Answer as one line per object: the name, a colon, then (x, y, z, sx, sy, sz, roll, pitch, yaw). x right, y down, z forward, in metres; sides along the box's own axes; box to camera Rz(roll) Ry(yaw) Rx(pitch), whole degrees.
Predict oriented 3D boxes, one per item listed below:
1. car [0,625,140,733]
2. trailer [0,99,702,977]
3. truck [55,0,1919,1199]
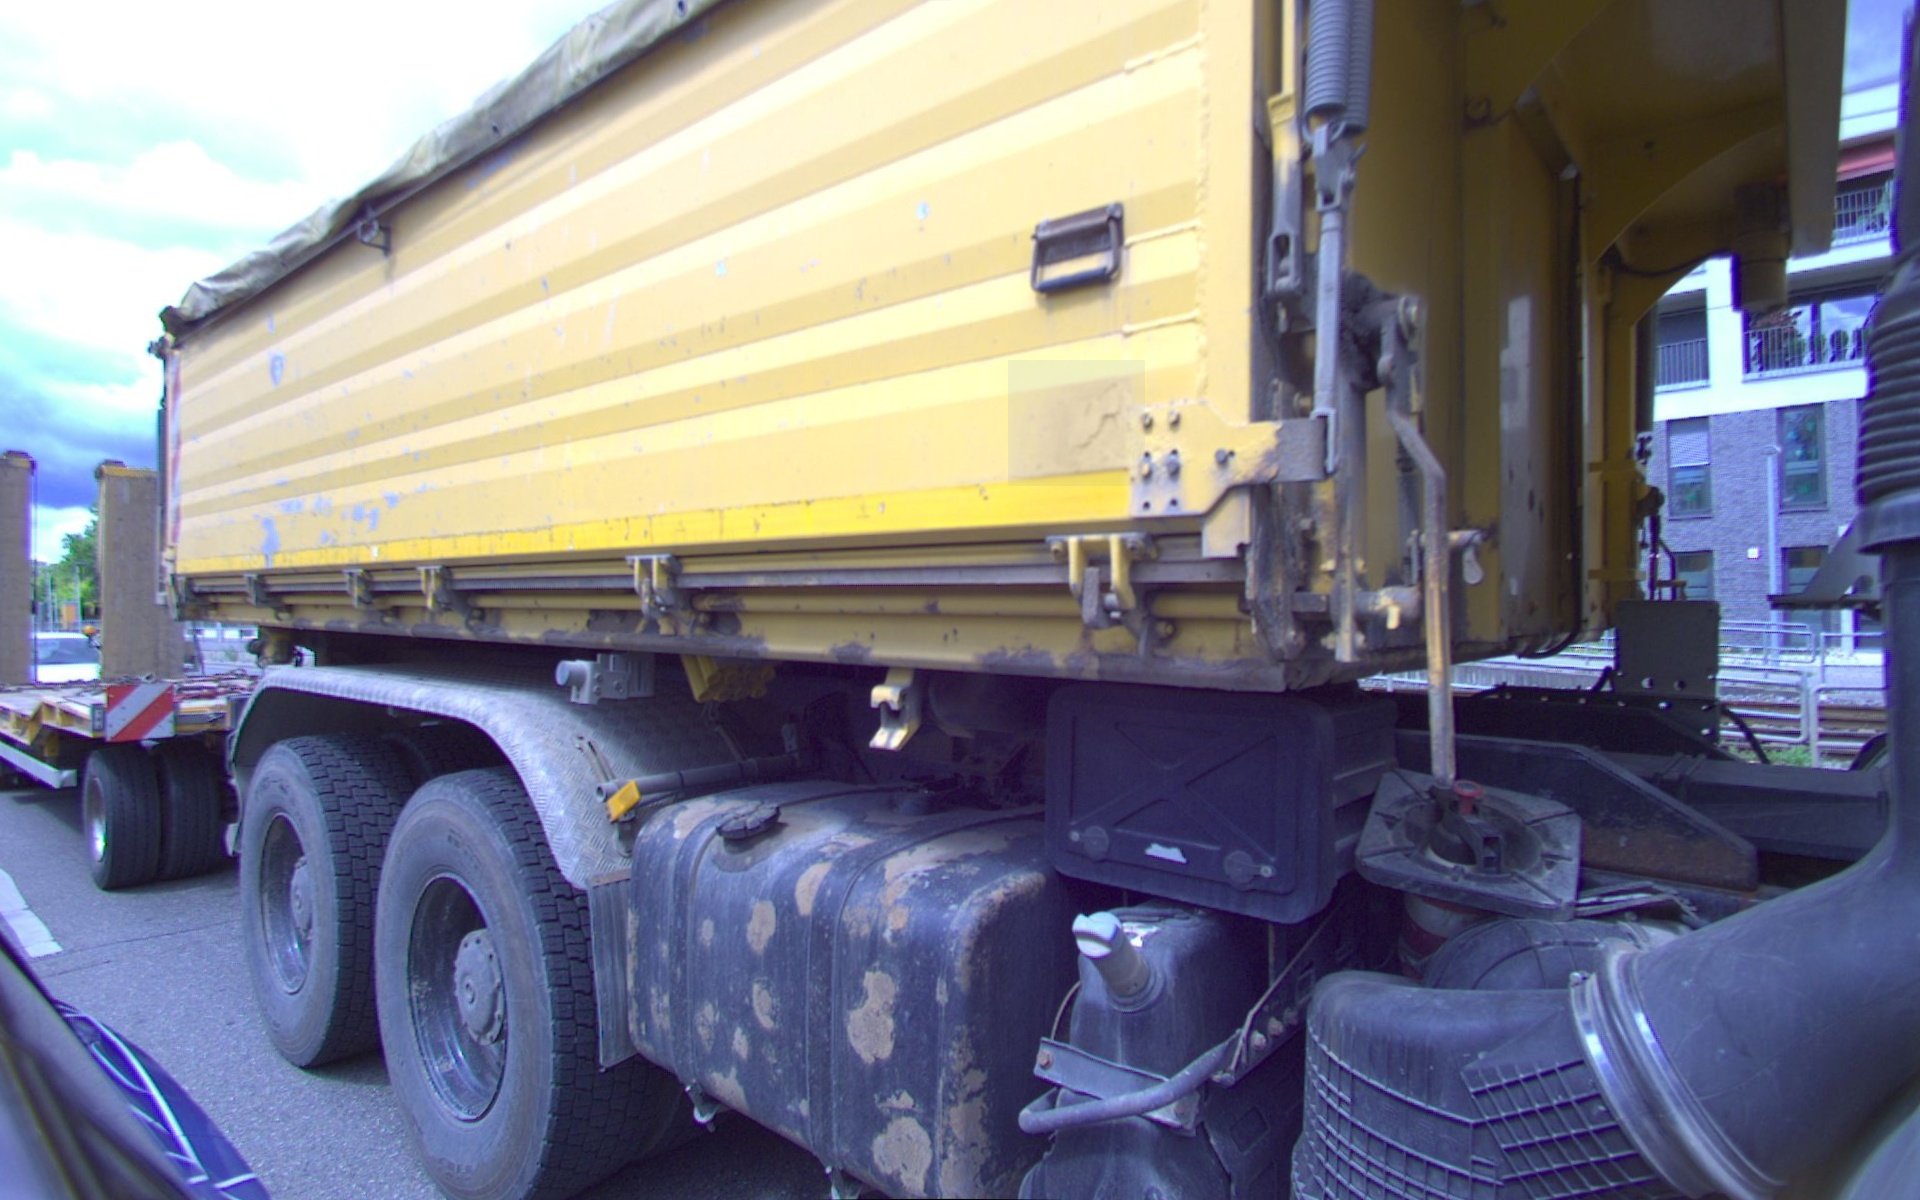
car: (-13.982, 1.127, 15.373, 3.784, 1.427, 1.761, -2, -1, 41)
trailer: (-6.855, -0.143, 9.005, 10.957, 3.726, 3.018, -2, -1, 40)
truck: (0.209, -0.229, 2.853, 7.999, 3.420, 3.019, -2, -1, 40)
